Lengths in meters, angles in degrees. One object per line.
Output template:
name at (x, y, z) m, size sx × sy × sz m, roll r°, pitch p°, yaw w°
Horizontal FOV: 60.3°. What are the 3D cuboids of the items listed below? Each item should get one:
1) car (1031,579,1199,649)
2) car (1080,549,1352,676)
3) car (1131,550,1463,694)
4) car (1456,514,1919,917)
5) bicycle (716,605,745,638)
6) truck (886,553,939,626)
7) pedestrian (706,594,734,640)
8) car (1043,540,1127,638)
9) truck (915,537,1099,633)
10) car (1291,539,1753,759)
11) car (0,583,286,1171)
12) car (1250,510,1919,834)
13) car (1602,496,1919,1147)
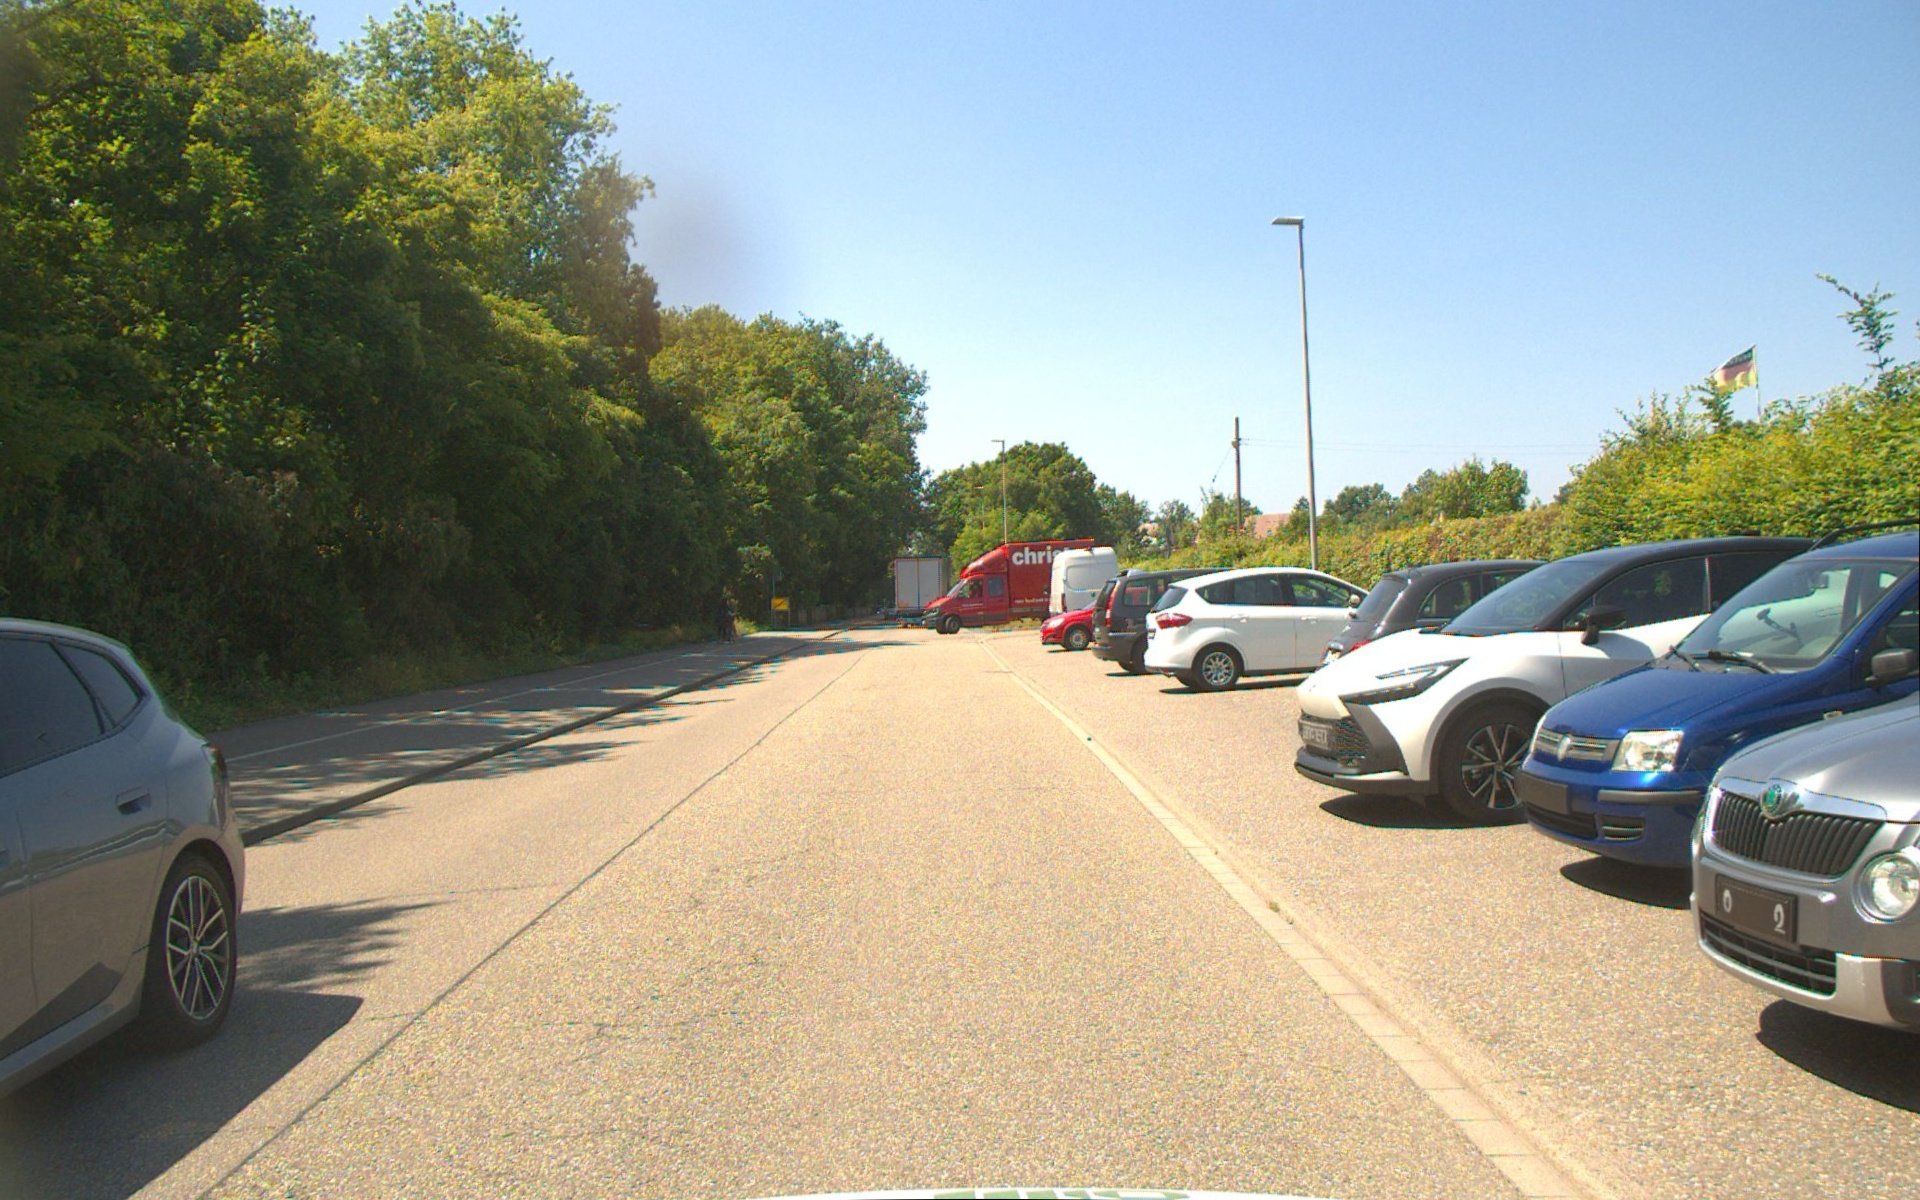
car at (3.934, 0.347, 42.392) m, size 3.975 × 1.459 × 1.834 m, roll -5°, pitch 0°, yaw -4°
car at (4.507, 0.215, 29.522) m, size 4.368 × 1.836 × 1.950 m, roll -5°, pitch 0°, yaw -6°
car at (4.671, 0.290, 23.314) m, size 4.192 × 1.605 × 1.764 m, roll -5°, pitch 0°, yaw -4°
car at (4.393, 0.404, 7.999) m, size 3.388 × 1.553 × 1.537 m, roll -6°, pitch 0°, yaw -7°
bicycle at (-8.879, 0.832, 64.079) m, size 0.510 × 1.258 × 1.962 m, roll -1°, pitch -1°, yaw 11°
truck at (-2.578, -0.524, 94.210) m, size 2.678 × 3.811 × 13.243 m, roll -1°, pitch 0°, yaw -1°
pedestrian at (-9.280, 0.642, 64.051) m, size 0.791 × 1.748 × 0.777 m, roll -1°, pitch 0°, yaw 14°
car at (3.897, -0.355, 52.884) m, size 1.915 × 2.780 × 7.166 m, roll -4°, pitch 0°, yaw 0°
truck at (1.873, -0.629, 66.403) m, size 7.005 × 3.499 × 2.326 m, roll -2°, pitch 2°, yaw -9°
car at (4.656, 0.387, 14.043) m, size 3.318 × 1.530 × 1.588 m, roll -4°, pitch 1°, yaw 2°
car at (-3.525, 0.827, 4.287) m, size 1.854 × 1.558 × 4.194 m, roll -6°, pitch 0°, yaw -3°
car at (4.113, 0.405, 10.844) m, size 3.889 × 1.549 × 1.861 m, roll -6°, pitch 0°, yaw -7°
car at (4.264, 0.389, 5.037) m, size 3.887 × 1.668 × 1.661 m, roll -6°, pitch 0°, yaw -7°
